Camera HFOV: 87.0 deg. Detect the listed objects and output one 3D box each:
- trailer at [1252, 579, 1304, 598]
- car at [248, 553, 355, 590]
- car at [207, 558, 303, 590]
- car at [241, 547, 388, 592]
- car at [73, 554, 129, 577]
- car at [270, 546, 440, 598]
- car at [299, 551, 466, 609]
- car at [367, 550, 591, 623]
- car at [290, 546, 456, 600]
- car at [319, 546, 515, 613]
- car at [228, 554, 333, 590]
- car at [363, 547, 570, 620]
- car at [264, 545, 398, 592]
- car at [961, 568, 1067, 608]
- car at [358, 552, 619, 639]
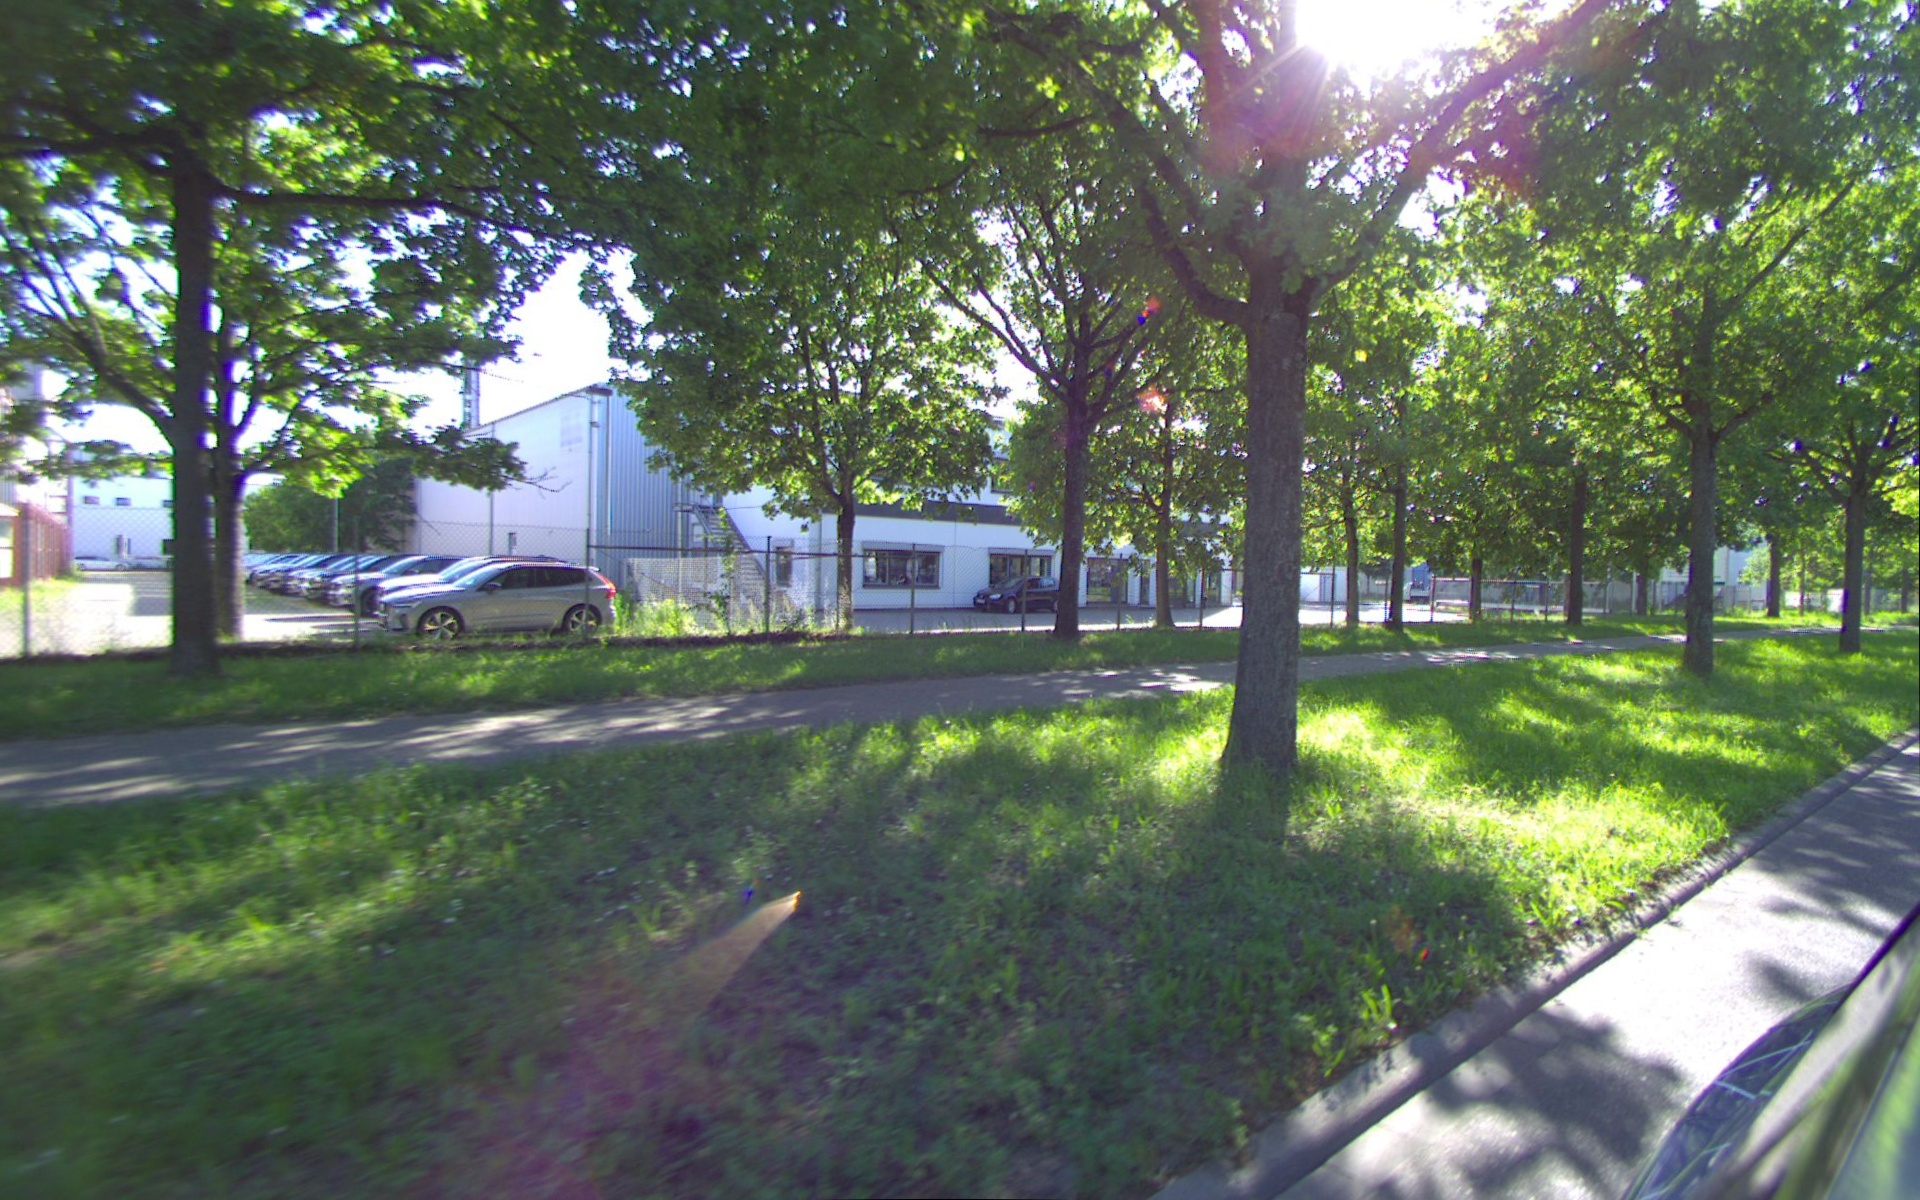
[{"bbox_3d":[23.375,-0.857,74.435,1.695,1.282,3.604,1,2,-23],"label":"trailer"},{"bbox_3d":[-31.659,-1.361,48.711,4.264,1.694,1.743,-1,1,-35],"label":"car"},{"bbox_3d":[-38.630,-1.417,55.533,4.264,1.694,1.743,-1,1,-35],"label":"car"},{"bbox_3d":[-25.807,-1.192,40.569,4.861,1.694,1.743,-1,1,-35],"label":"car"},{"bbox_3d":[-80.566,-3.236,94.958,3.928,2.039,1.998,-1,1,-39],"label":"car"},{"bbox_3d":[-20.957,-0.940,35.174,4.880,1.694,1.741,-1,1,-38],"label":"car"},{"bbox_3d":[-17.938,-0.613,31.525,4.372,1.676,1.700,-1,1,-36],"label":"car"},{"bbox_3d":[-11.264,-0.331,23.871,4.381,1.578,1.996,0,2,-43],"label":"car"},{"bbox_3d":[-19.456,-0.876,33.635,4.630,1.694,1.706,-1,1,-36],"label":"car"},{"bbox_3d":[-14.869,-0.547,27.862,1.994,1.694,4.385,0,1,44],"label":"car"},{"bbox_3d":[-33.821,-1.363,50.437,4.264,1.694,1.743,-1,1,-35],"label":"car"},{"bbox_3d":[-12.568,-0.433,25.935,4.381,1.694,1.996,0,2,-43],"label":"car"},{"bbox_3d":[-24.084,-1.177,38.799,4.264,1.694,1.743,-1,1,-35],"label":"car"},{"bbox_3d":[2.174,-0.488,40.050,4.084,1.525,1.720,-1,1,-39],"label":"car"},{"bbox_3d":[-9.867,-0.152,21.411,4.636,1.626,1.996,-1,3,-43],"label":"car"}]
